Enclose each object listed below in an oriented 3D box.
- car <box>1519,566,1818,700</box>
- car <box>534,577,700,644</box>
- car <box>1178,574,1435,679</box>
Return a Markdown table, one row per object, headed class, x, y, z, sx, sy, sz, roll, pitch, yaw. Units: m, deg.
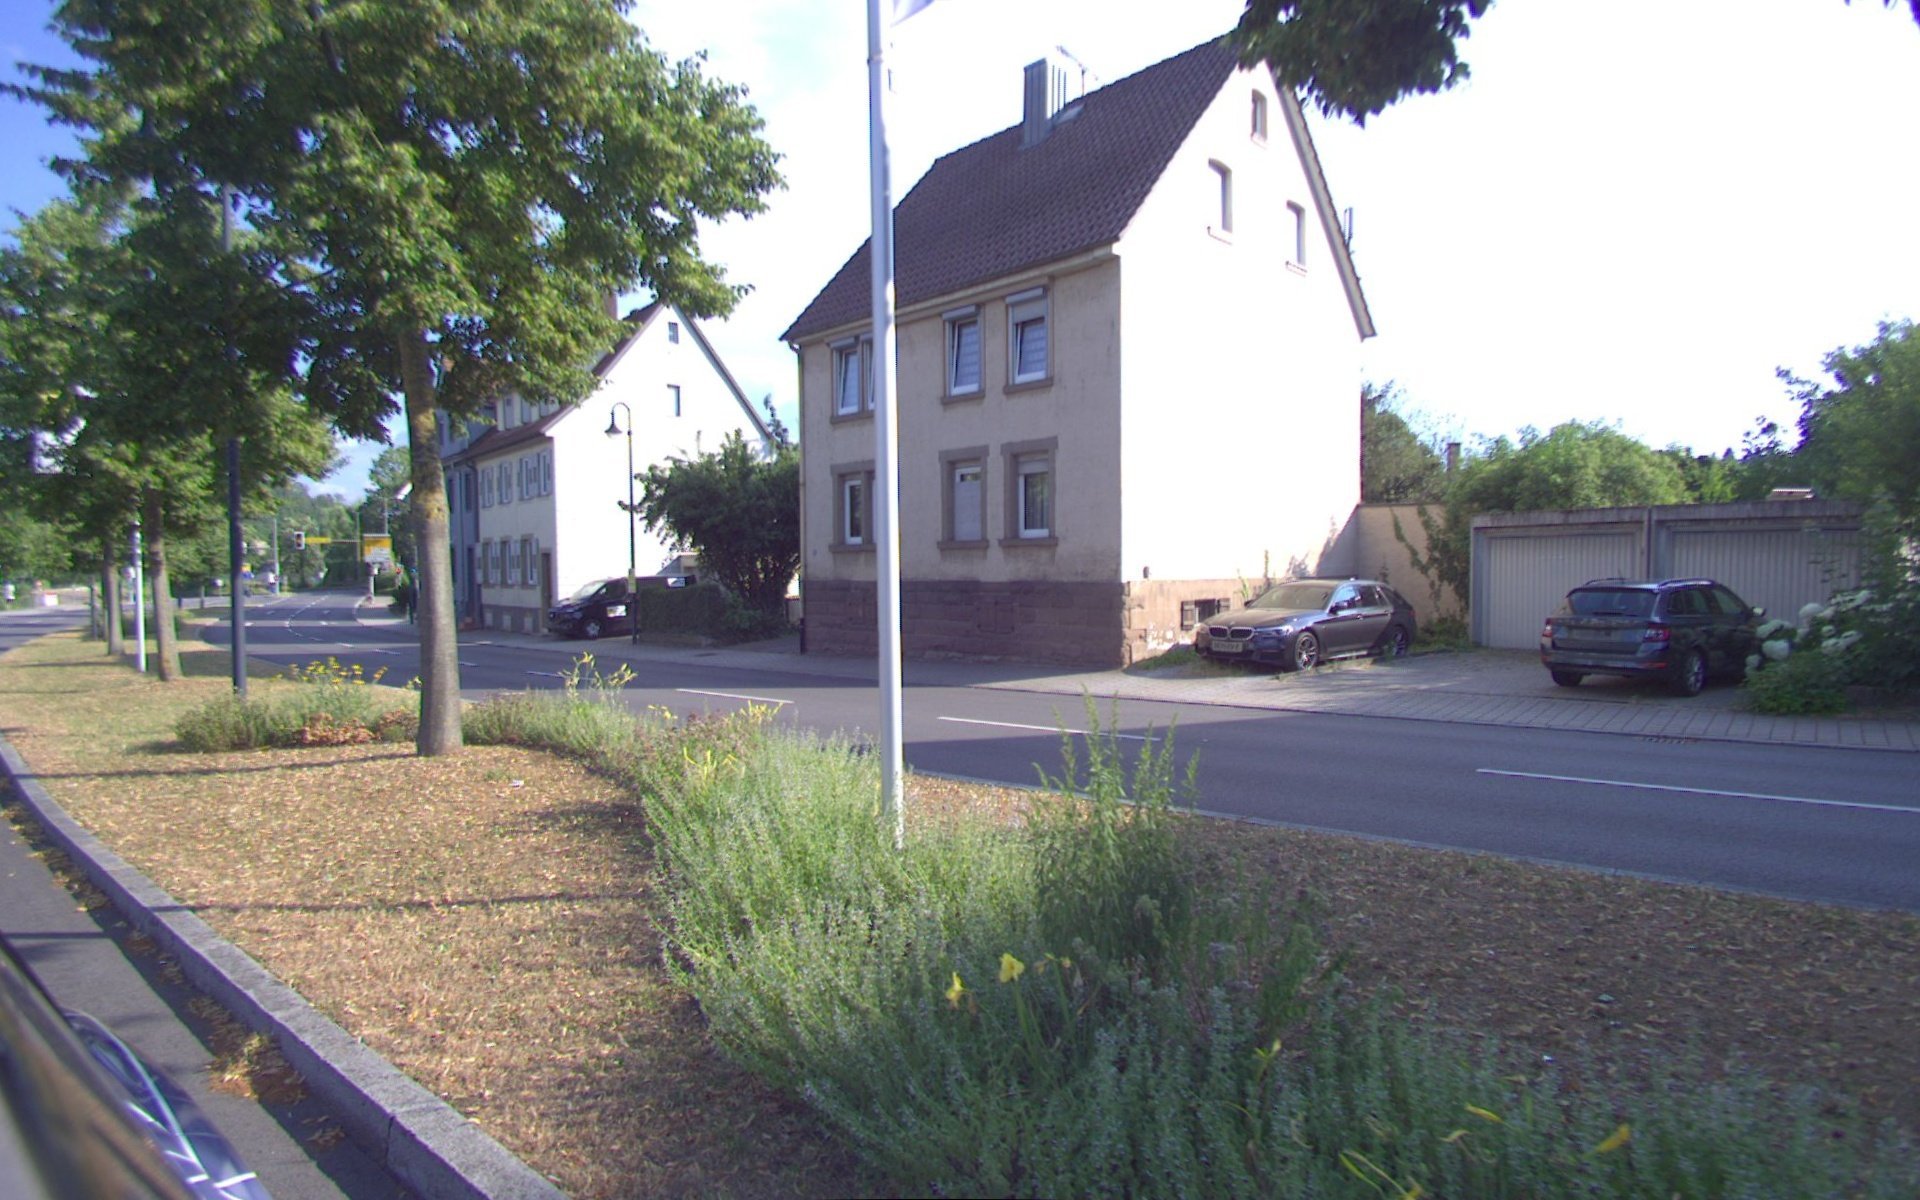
| class | x | y | z | sx | sy | sz | roll | pitch | yaw |
| --- | --- | --- | --- | --- | --- | --- | --- | --- | --- |
| car | 9.763 | 0.349 | 13.859 | 4.288 | 1.497 | 1.951 | -2 | 1 | -34 |
| car | -11.377 | 0.306 | 33.767 | 4.764 | 1.891 | 2.003 | -4 | 2 | -40 |
| car | 5.987 | 0.369 | 17.320 | 4.289 | 1.497 | 2.016 | -2 | 1 | -36 |
